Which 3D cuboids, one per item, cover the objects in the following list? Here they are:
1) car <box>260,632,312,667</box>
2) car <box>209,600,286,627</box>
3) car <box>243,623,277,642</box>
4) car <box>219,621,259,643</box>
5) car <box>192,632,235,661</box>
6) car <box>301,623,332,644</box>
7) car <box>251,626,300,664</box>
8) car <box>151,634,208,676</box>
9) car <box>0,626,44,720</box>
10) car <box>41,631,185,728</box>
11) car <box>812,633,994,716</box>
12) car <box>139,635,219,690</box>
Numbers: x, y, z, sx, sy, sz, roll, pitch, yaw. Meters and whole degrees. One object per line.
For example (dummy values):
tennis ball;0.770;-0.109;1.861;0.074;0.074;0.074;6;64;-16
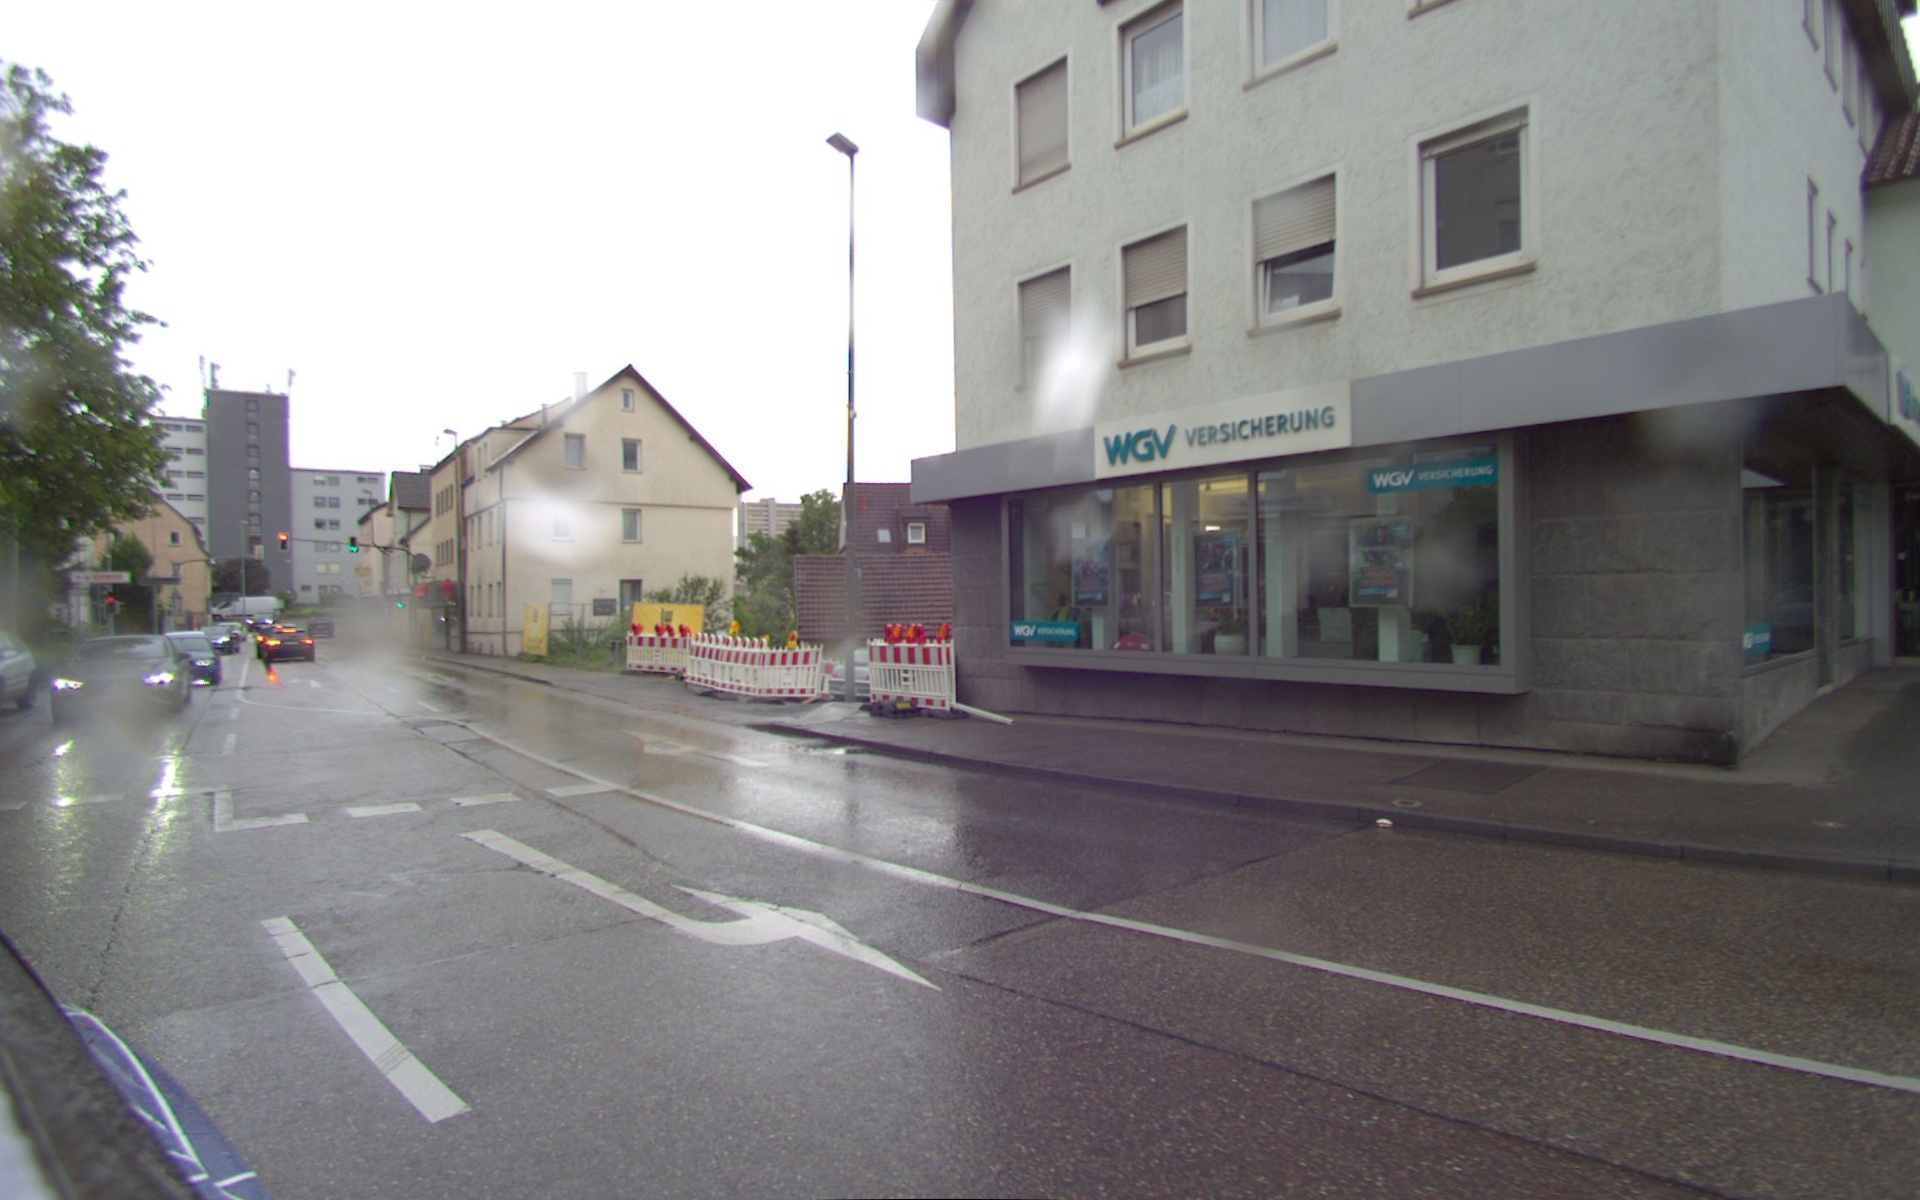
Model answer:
car;-29.126;2.094;43.700;1.684;1.394;3.678;-1;-1;-36
car;-76.613;1.446;108.958;6.311;2.539;2.685;-3;0;-24
car;-62.333;2.870;90.167;1.524;1.545;3.700;-2;0;-20
car;-51.865;2.269;72.830;1.658;1.472;4.013;-1;-1;-25
car;-41.531;2.562;56.360;1.659;1.472;4.011;-1;-1;-34
car;-50.564;2.626;79.521;1.792;1.583;4.285;0;-2;-36
car;-33.109;2.158;48.927;1.792;1.657;4.285;-2;-1;-36
car;-29.801;2.067;38.655;1.660;1.432;4.008;-1;-1;-38
car;-19.896;1.441;19.980;1.904;1.794;4.746;0;-2;-33
car;-16.222;1.436;19.579;1.792;1.583;4.285;-1;-1;-36
car;-1.106;1.583;20.800;3.458;1.401;1.652;10;-10;-44
car;-22.221;1.741;28.889;1.616;1.443;3.814;1;-2;-35
